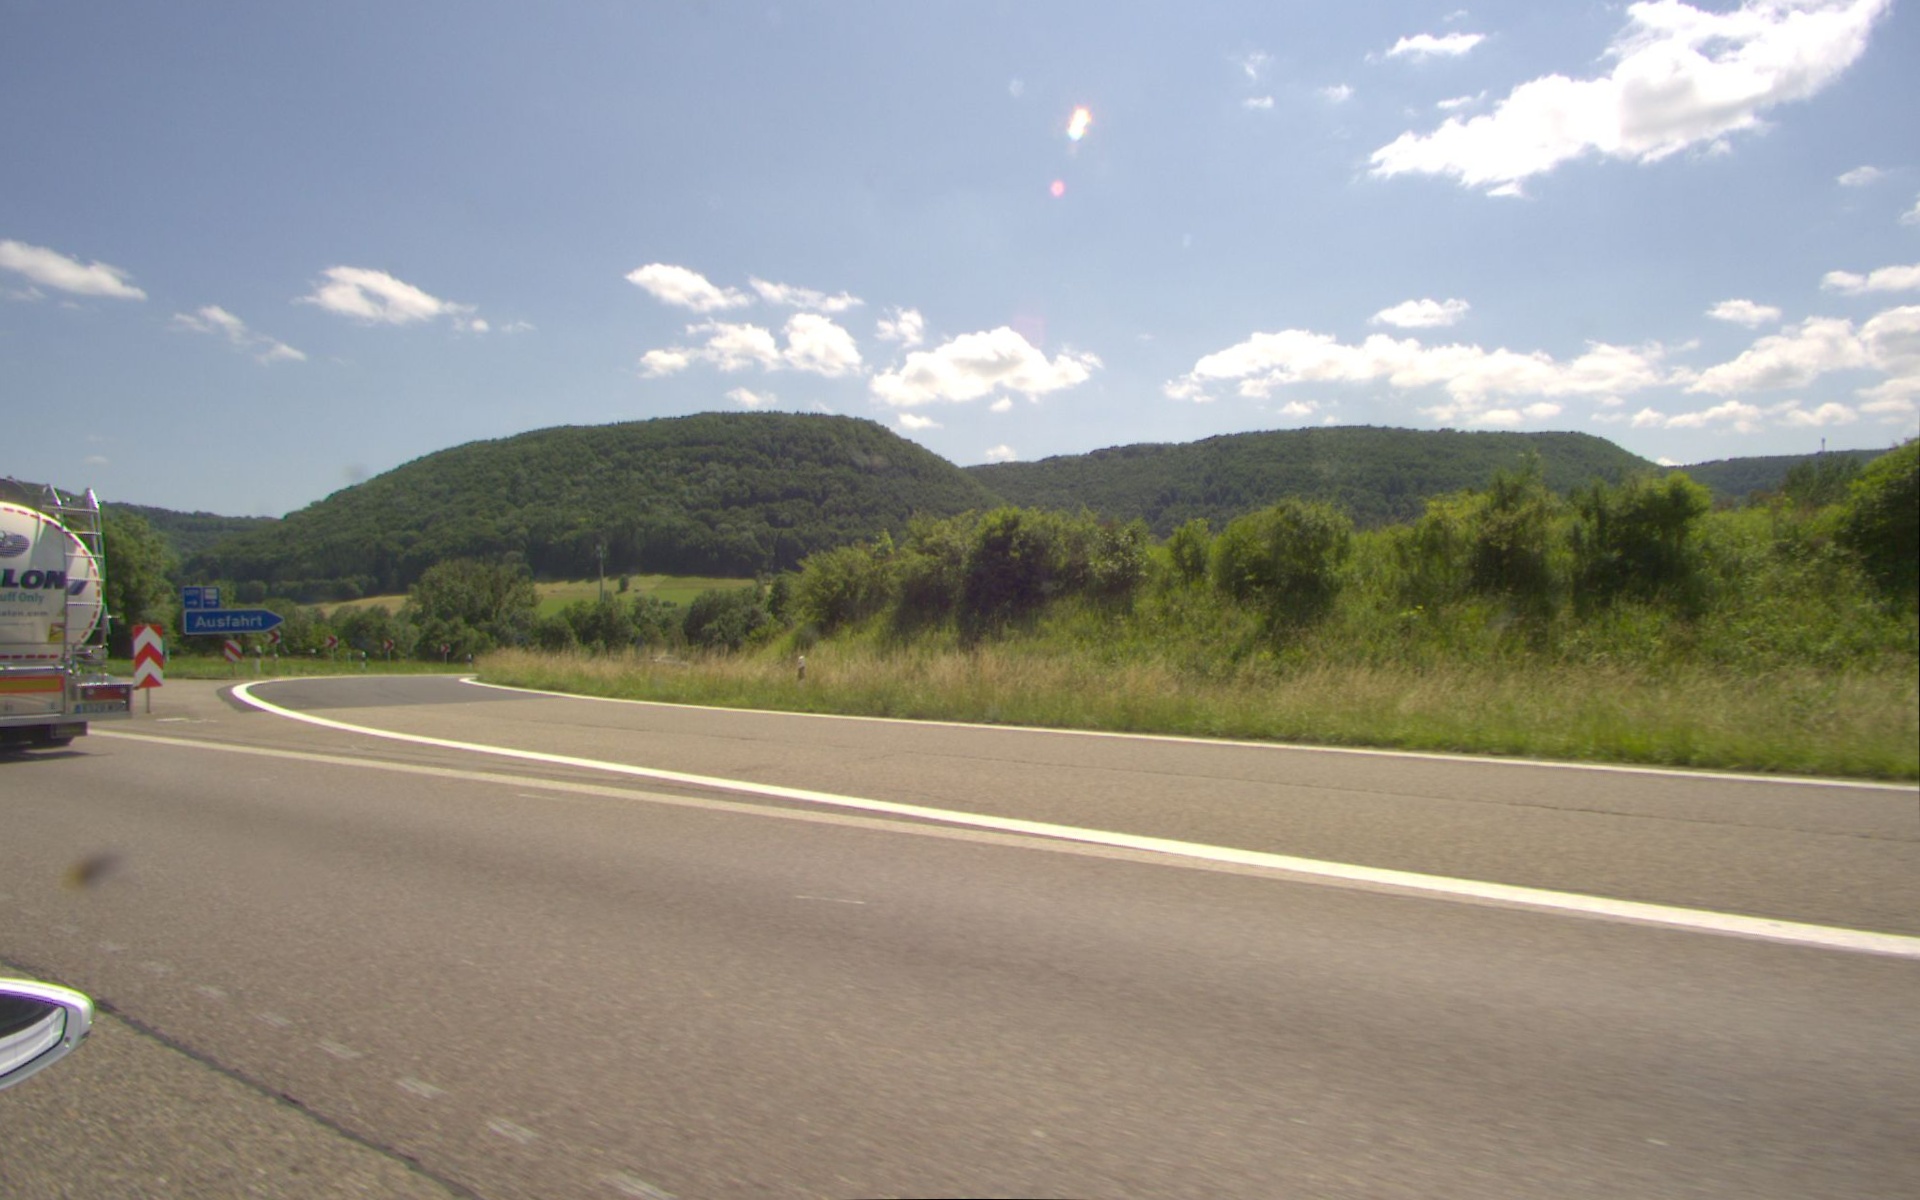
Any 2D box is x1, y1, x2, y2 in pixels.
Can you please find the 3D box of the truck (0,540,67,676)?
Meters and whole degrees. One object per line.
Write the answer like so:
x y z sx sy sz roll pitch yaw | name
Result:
-34.769 0.372 34.089 14.746 4.055 2.811 -1 -1 33 | truck

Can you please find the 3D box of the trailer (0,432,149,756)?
-16.119 0.031 14.959 11.720 3.784 2.533 -1 -1 32 | trailer
